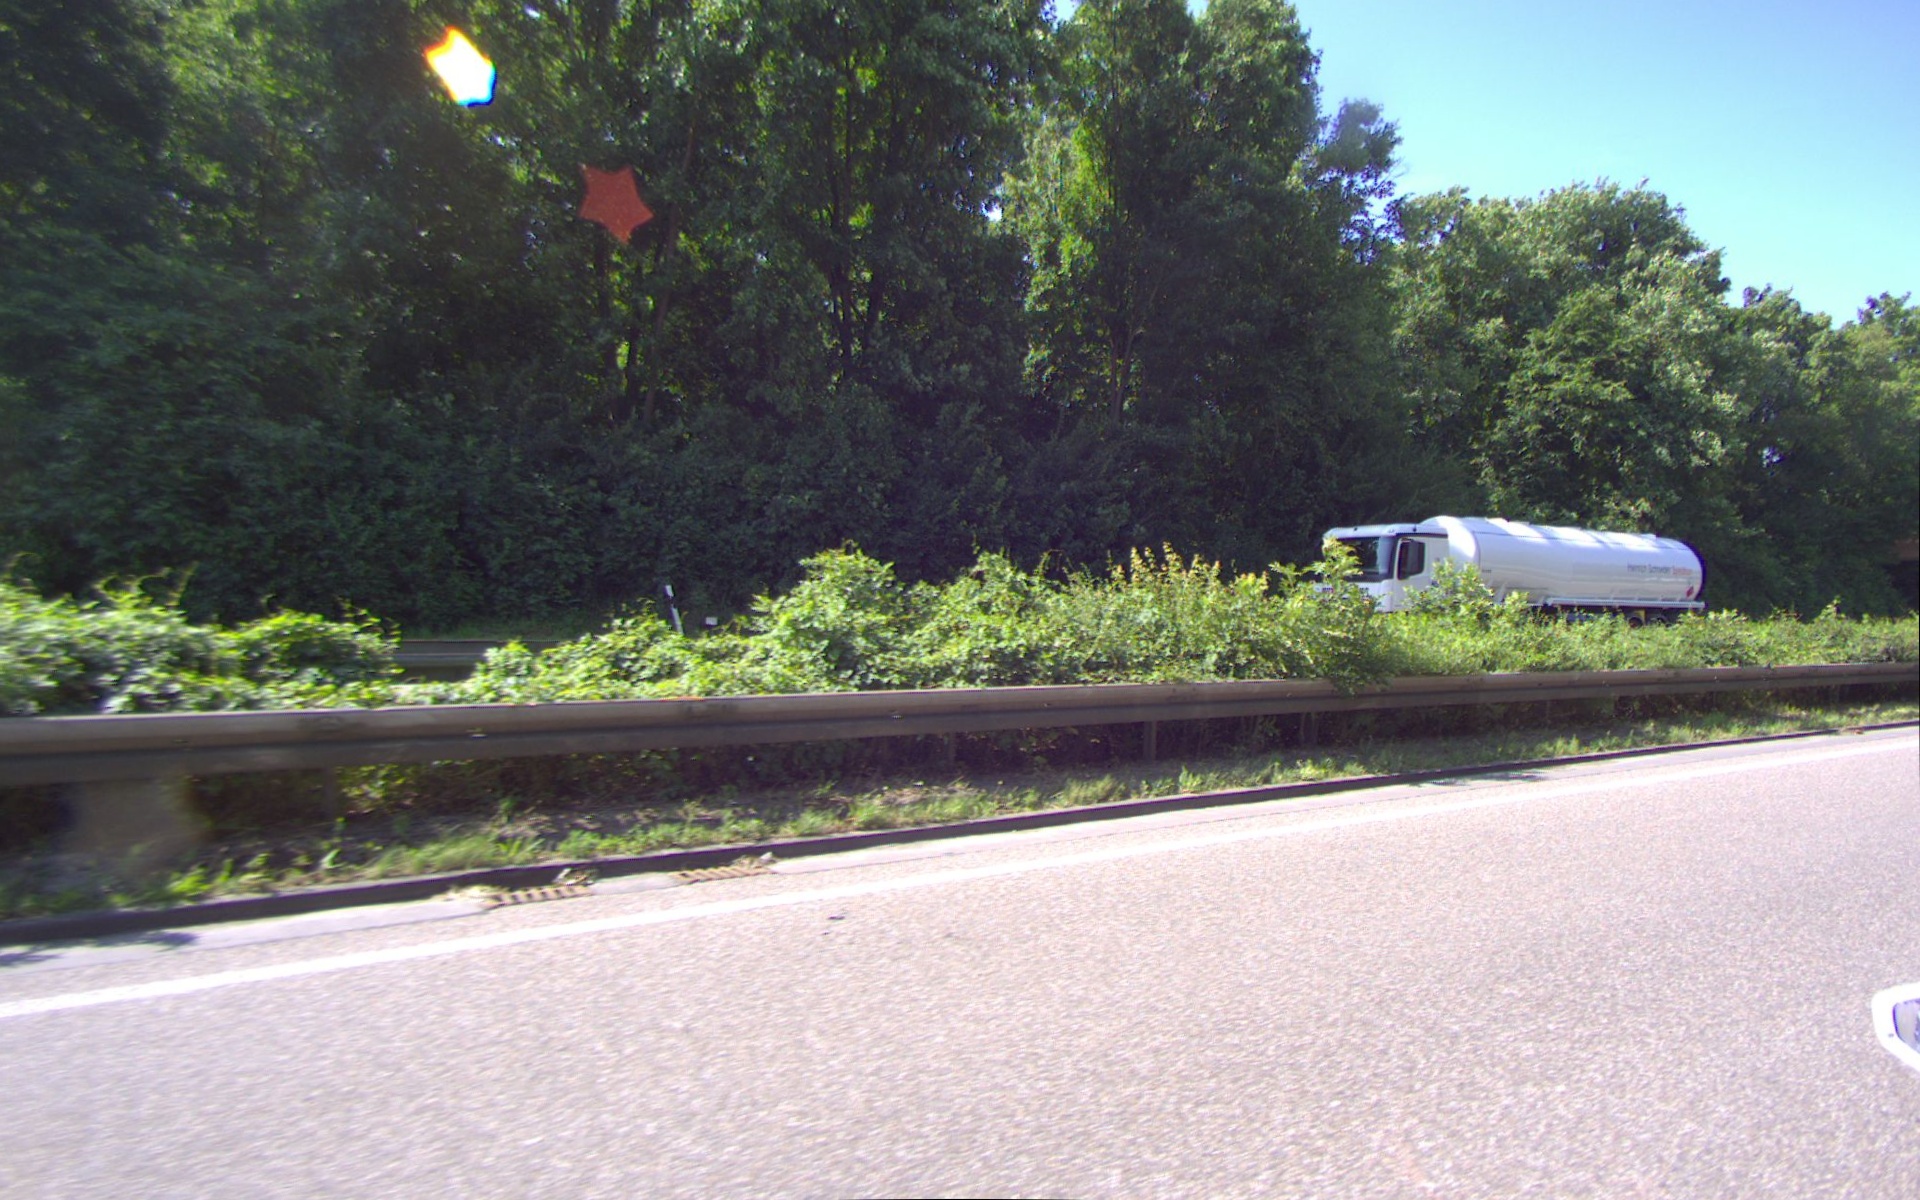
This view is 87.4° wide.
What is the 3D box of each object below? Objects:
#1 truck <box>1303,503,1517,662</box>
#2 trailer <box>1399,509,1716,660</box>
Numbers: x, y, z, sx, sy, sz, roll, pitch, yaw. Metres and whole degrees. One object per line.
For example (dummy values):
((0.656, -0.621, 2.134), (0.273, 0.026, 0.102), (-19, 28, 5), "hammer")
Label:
((10.512, -0.343, 23.431), (4.488, 3.386, 2.327), (1, 0, -30), "truck")
((16.197, -0.266, 26.692), (11.284, 3.447, 1.984), (1, 0, -30), "trailer")
